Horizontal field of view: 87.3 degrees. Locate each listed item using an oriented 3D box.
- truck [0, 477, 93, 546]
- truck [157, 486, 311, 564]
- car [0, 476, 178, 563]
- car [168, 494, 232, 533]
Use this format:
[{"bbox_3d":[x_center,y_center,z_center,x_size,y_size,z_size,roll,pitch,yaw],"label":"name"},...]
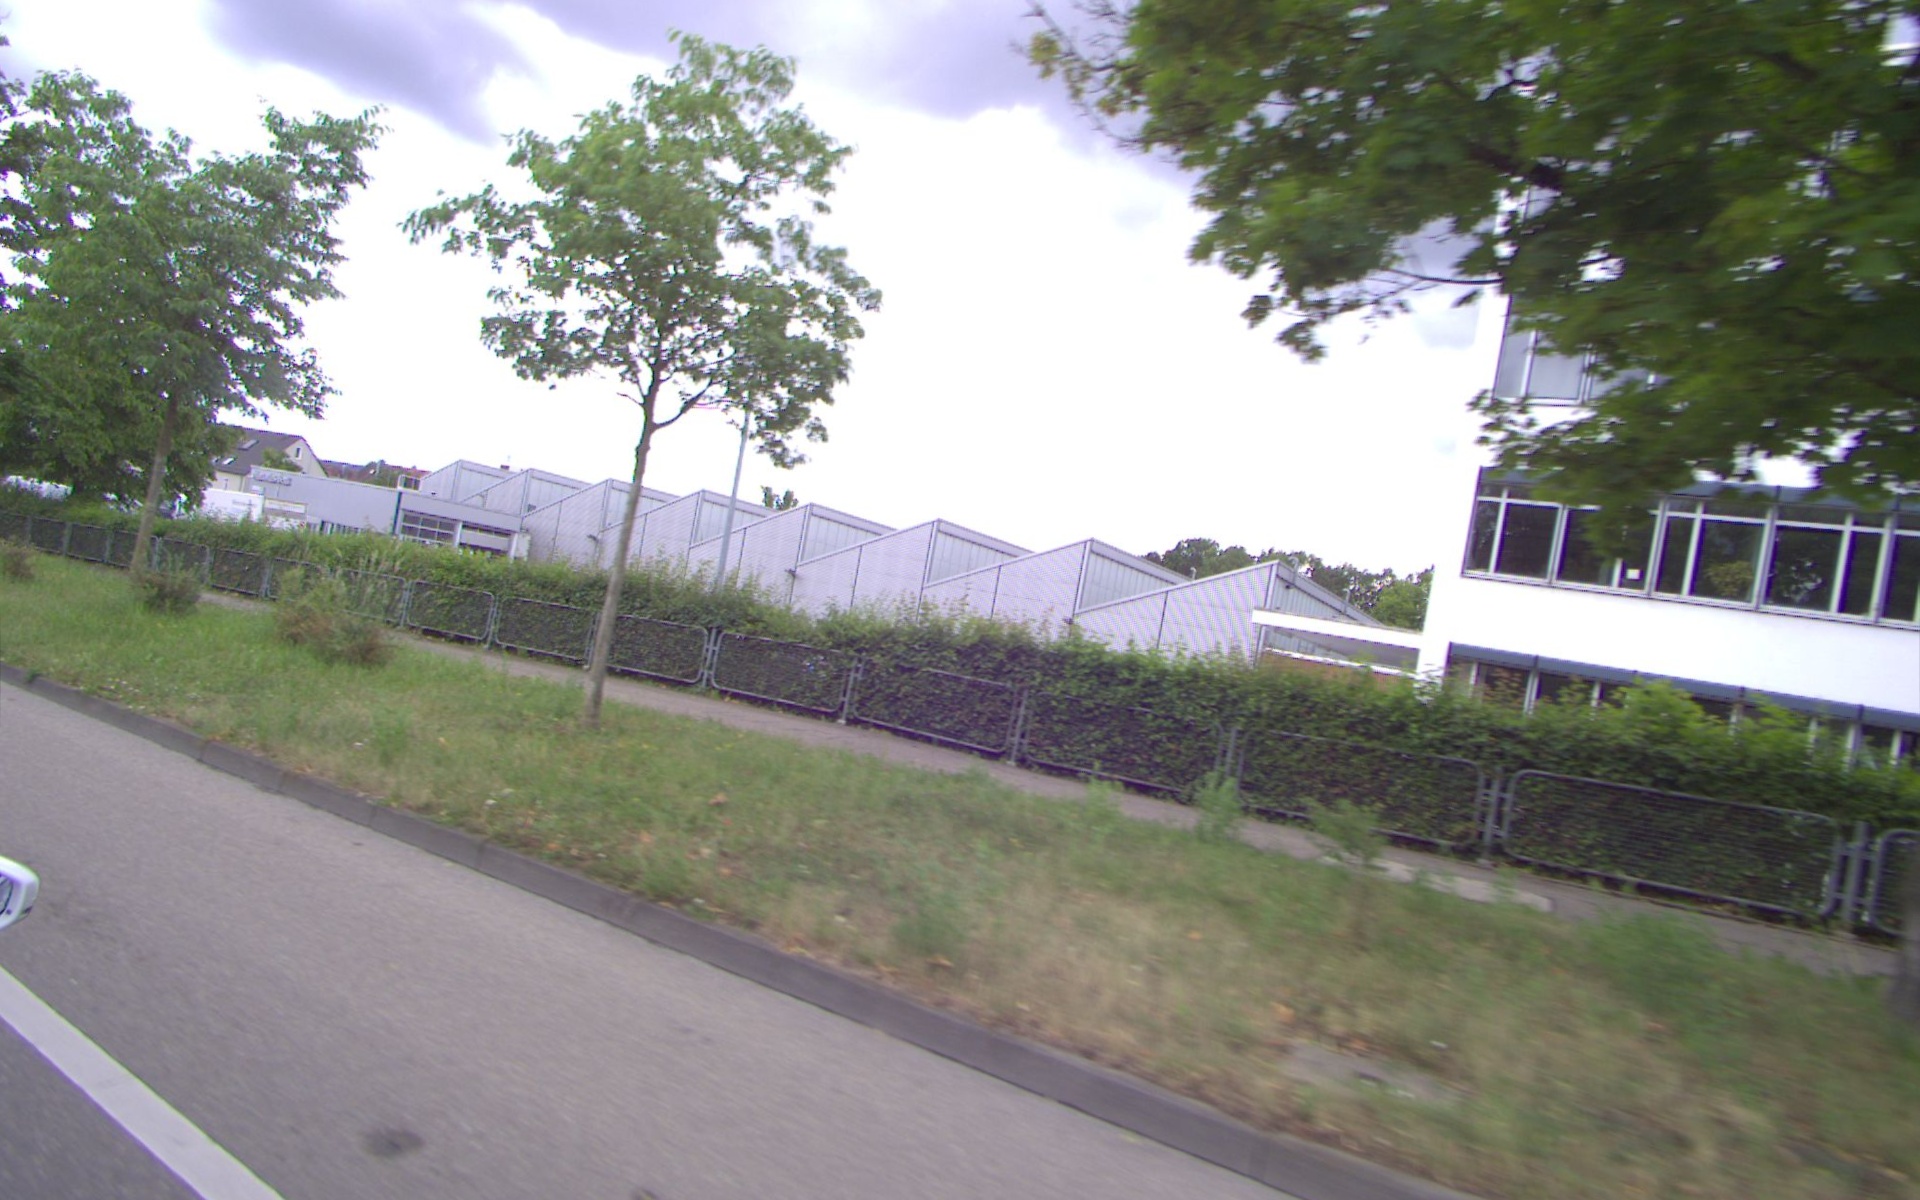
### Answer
[{"bbox_3d":[-37.916,-3.690,39.336,2.205,2.237,6.261,8,-3,2],"label":"truck"},{"bbox_3d":[-43.966,-4.541,60.863,9.368,3.498,2.864,7,-2,24],"label":"truck"},{"bbox_3d":[-31.330,-2.802,36.002,2.032,2.212,5.269,8,-3,5],"label":"car"},{"bbox_3d":[-64.540,-7.322,85.578,2.229,2.709,5.430,9,0,-16],"label":"car"}]
